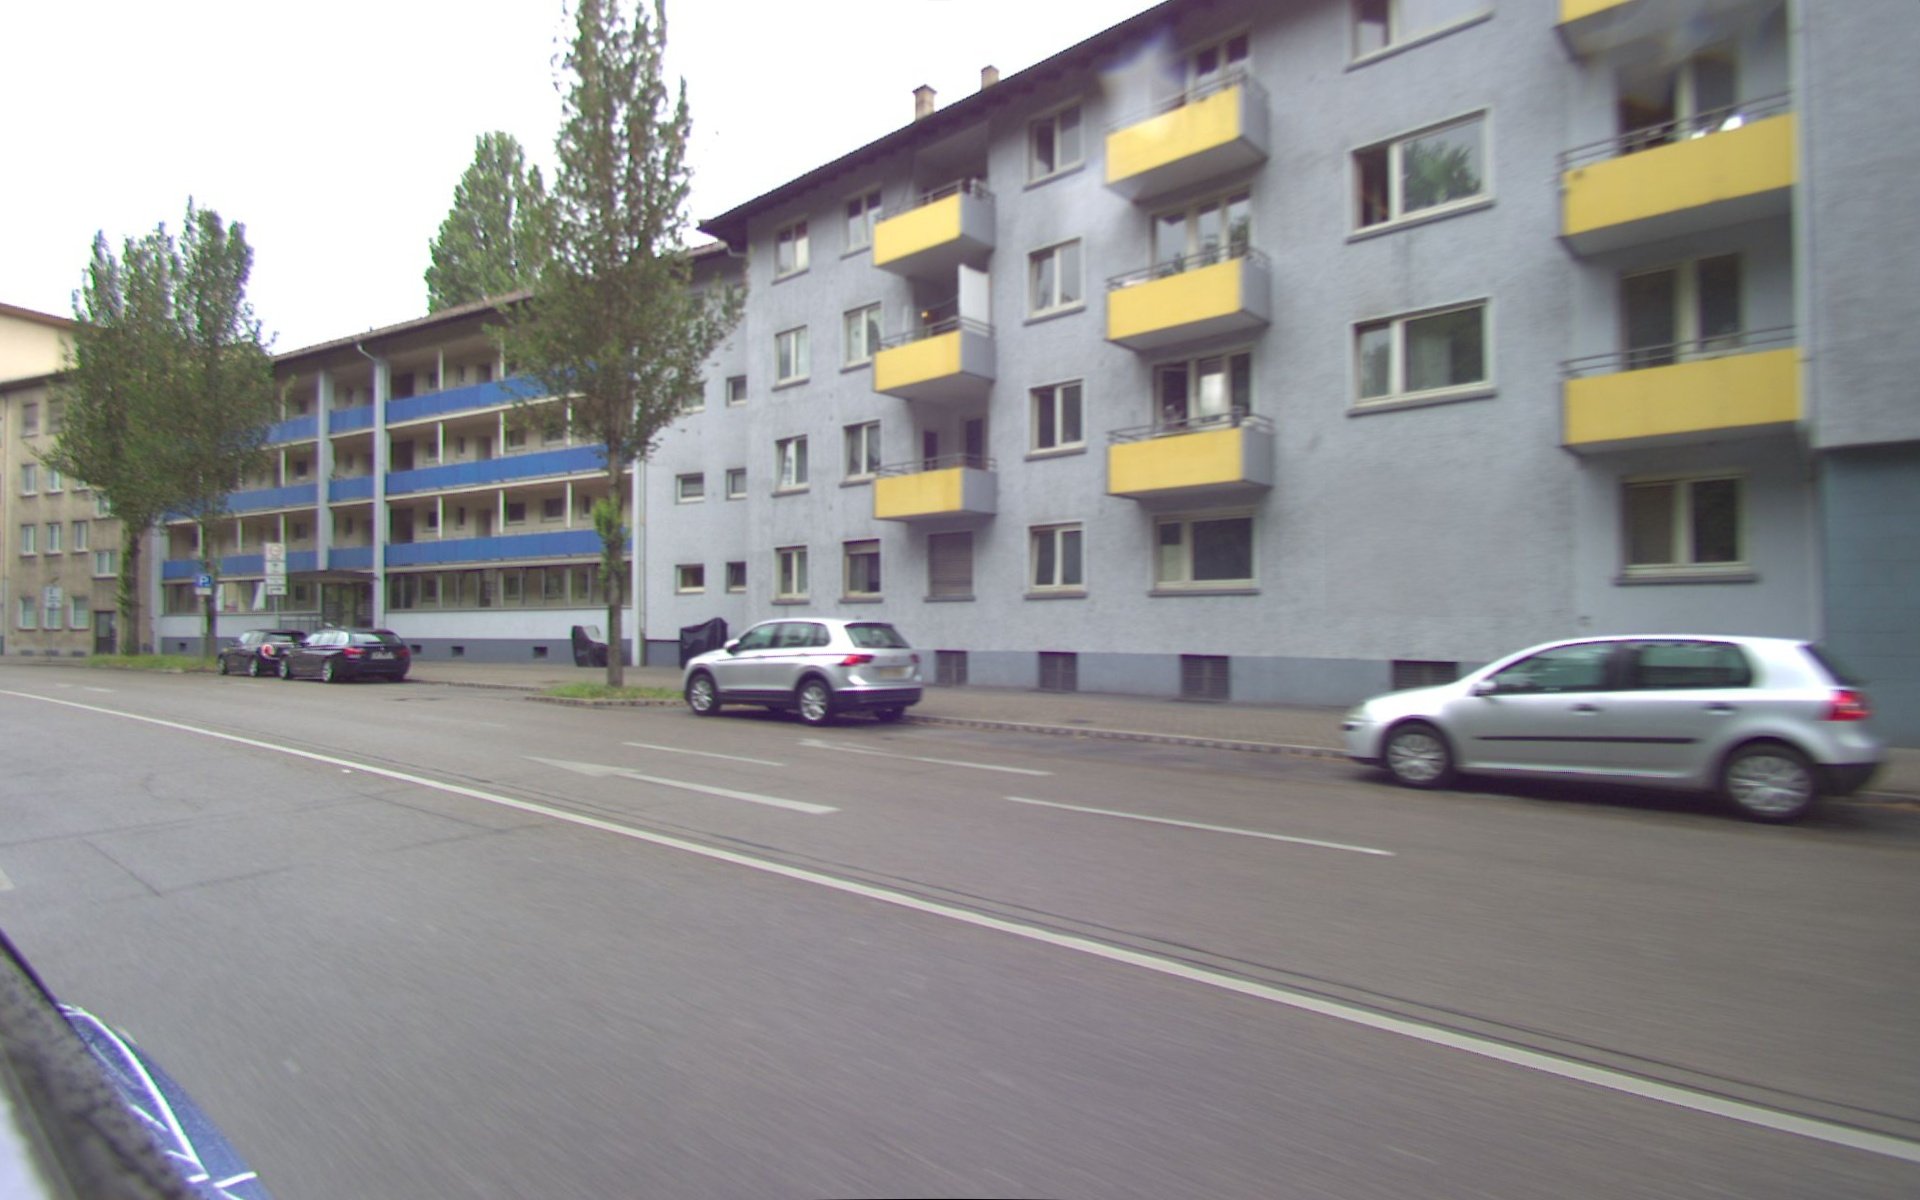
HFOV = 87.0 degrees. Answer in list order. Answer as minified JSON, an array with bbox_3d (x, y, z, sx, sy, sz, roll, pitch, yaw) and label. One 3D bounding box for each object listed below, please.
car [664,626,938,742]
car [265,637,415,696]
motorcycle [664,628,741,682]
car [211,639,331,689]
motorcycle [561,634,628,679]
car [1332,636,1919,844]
[{"bbox_3d":[-2.642,1.259,16.213,4.527,1.616,1.747,-2,-3,38],"label":"car"},{"bbox_3d":[-16.977,1.780,27.629,4.884,1.450,1.804,-1,-4,37],"label":"car"},{"bbox_3d":[-7.196,1.529,28.228,2.227,1.424,0.670,-1,0,30],"label":"motorcycle"},{"bbox_3d":[-21.229,1.948,31.142,4.081,1.414,1.763,-2,-4,37],"label":"car"},{"bbox_3d":[-11.018,1.689,30.500,2.229,1.263,0.670,-2,0,33],"label":"motorcycle"},{"bbox_3d":[5.752,1.061,9.101,4.200,1.464,1.707,-2,-3,39],"label":"car"}]
